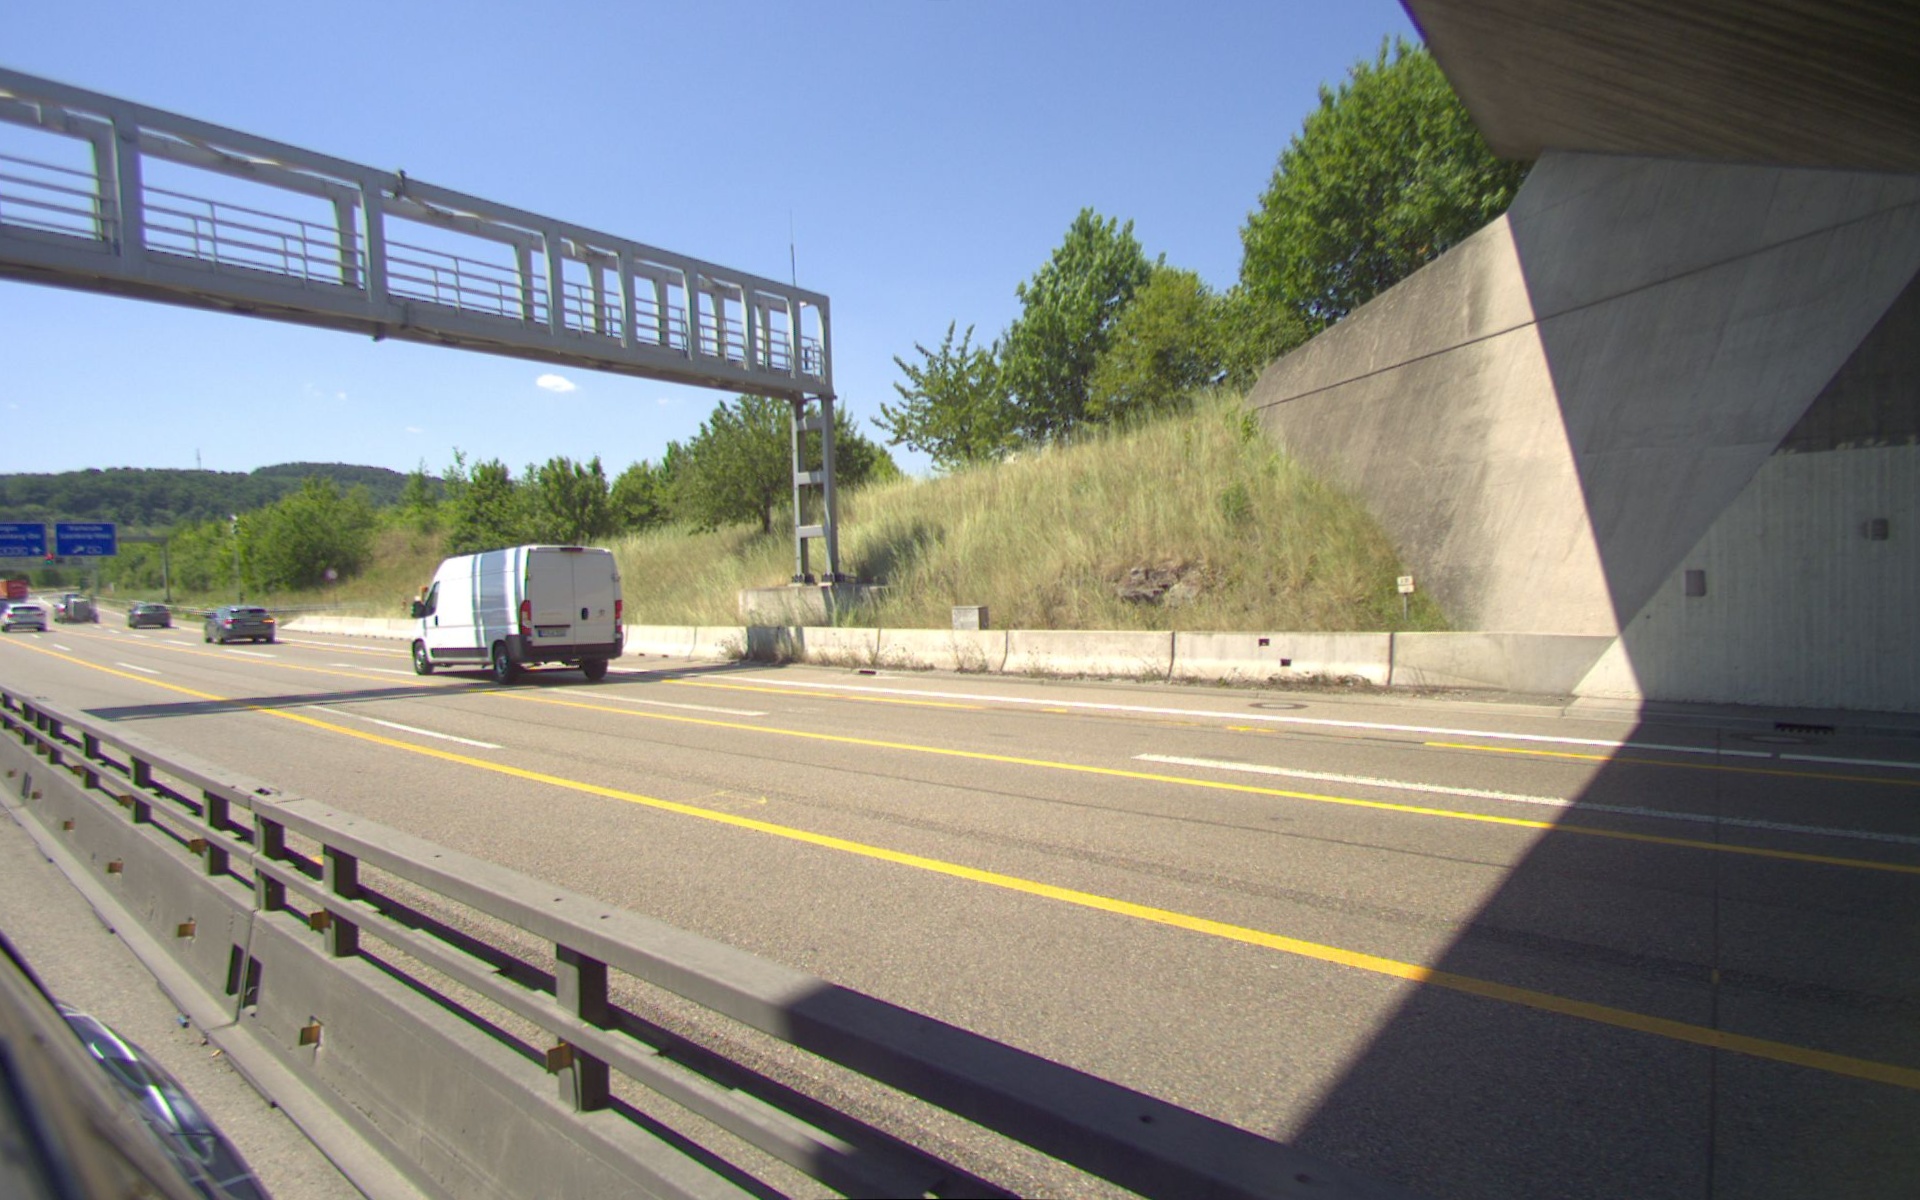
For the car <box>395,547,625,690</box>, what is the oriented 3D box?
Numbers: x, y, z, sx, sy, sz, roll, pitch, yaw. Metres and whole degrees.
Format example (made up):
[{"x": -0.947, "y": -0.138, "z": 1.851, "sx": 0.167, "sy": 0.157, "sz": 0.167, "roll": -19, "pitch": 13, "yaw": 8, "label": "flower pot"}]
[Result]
[{"x": -9.337, "y": 0.372, "z": 20.676, "sx": 6.039, "sy": 2.534, "sz": 1.973, "roll": -1, "pitch": -1, "yaw": 41, "label": "car"}]

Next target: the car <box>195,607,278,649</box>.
[{"x": -27.971, "y": 1.054, "z": 39.068, "sx": 4.564, "sy": 1.527, "sz": 1.754, "roll": -1, "pitch": -1, "yaw": 43, "label": "car"}]

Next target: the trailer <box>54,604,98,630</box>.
[{"x": -65.287, "y": 1.262, "z": 74.692, "sx": 5.522, "sy": 1.819, "sz": 1.925, "roll": -1, "pitch": -1, "yaw": 43, "label": "trailer"}]

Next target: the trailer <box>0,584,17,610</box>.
[{"x": -154.092, "y": -0.527, "z": 163.439, "sx": 2.311, "sy": 4.133, "sz": 13.271, "roll": -2, "pitch": 2, "yaw": -44, "label": "trailer"}]

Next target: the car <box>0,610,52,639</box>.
[{"x": -53.006, "y": 1.356, "z": 57.350, "sx": 4.444, "sy": 1.589, "sz": 1.755, "roll": -1, "pitch": -1, "yaw": 41, "label": "car"}]

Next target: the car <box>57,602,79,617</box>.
[{"x": -113.928, "y": 1.235, "z": 129.267, "sx": 4.788, "sy": 1.848, "sz": 1.669, "roll": 1, "pitch": 0, "yaw": 43, "label": "car"}]

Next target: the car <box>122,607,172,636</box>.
[{"x": -50.158, "y": 1.310, "z": 62.425, "sx": 4.807, "sy": 1.679, "sz": 1.754, "roll": -1, "pitch": -1, "yaw": 43, "label": "car"}]
